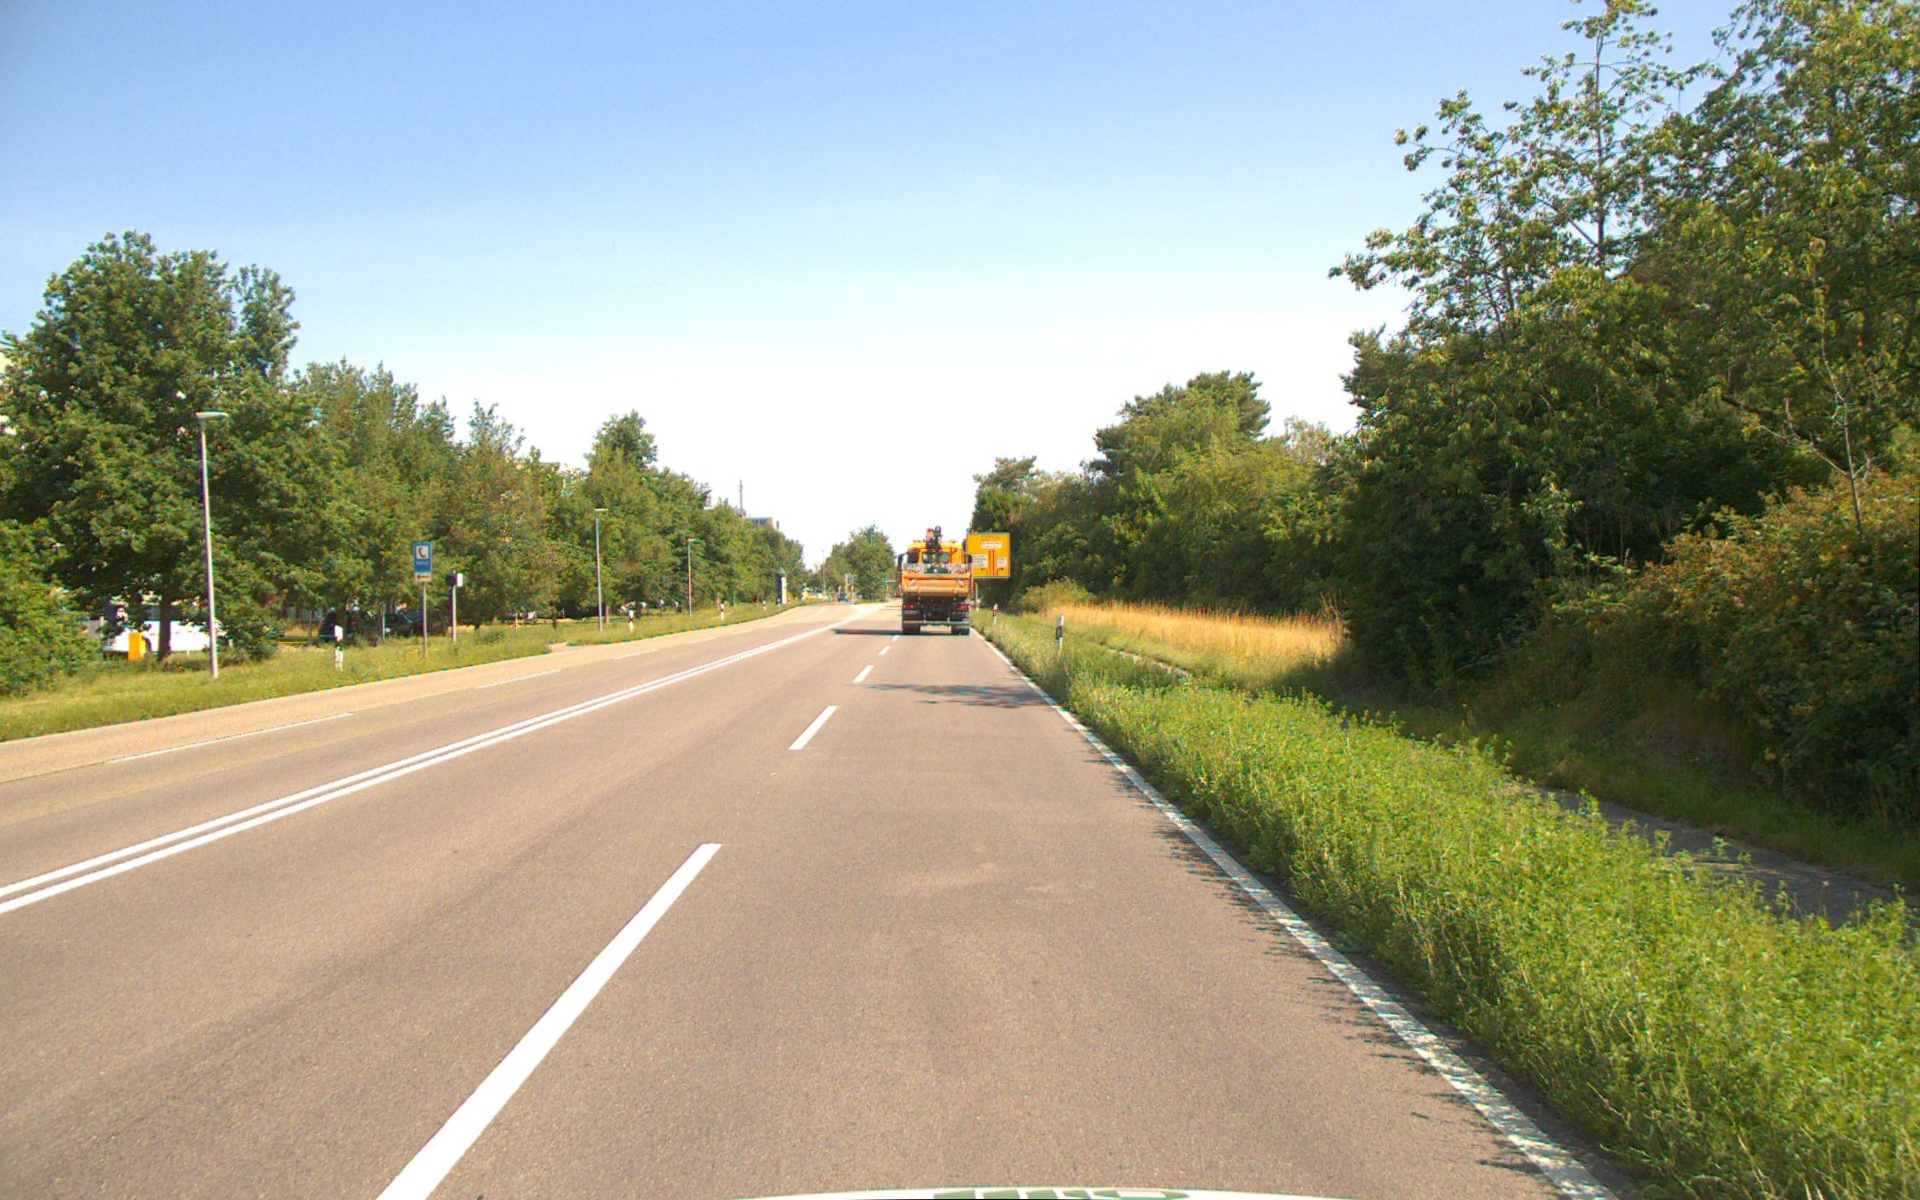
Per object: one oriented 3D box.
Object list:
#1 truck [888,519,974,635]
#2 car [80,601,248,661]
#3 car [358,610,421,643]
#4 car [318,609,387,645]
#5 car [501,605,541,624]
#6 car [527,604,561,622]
[{"bbox_3d":[-1.151,-0.815,60.848,2.815,3.948,7.395,1,0,-3],"label":"truck"},{"bbox_3d":[-27.457,1.032,57.249,2.028,1.963,5.007,-1,0,29],"label":"car"},{"bbox_3d":[-29.359,1.346,85.195,1.708,1.606,4.547,-1,0,-1],"label":"car"},{"bbox_3d":[-29.173,1.278,79.537,1.708,1.606,4.547,-1,0,-1],"label":"car"},{"bbox_3d":[-36.627,1.205,137.971,1.952,1.462,4.955,-1,0,0],"label":"car"},{"bbox_3d":[-37.207,1.130,147.921,1.953,1.462,4.609,-1,0,-1],"label":"car"}]
